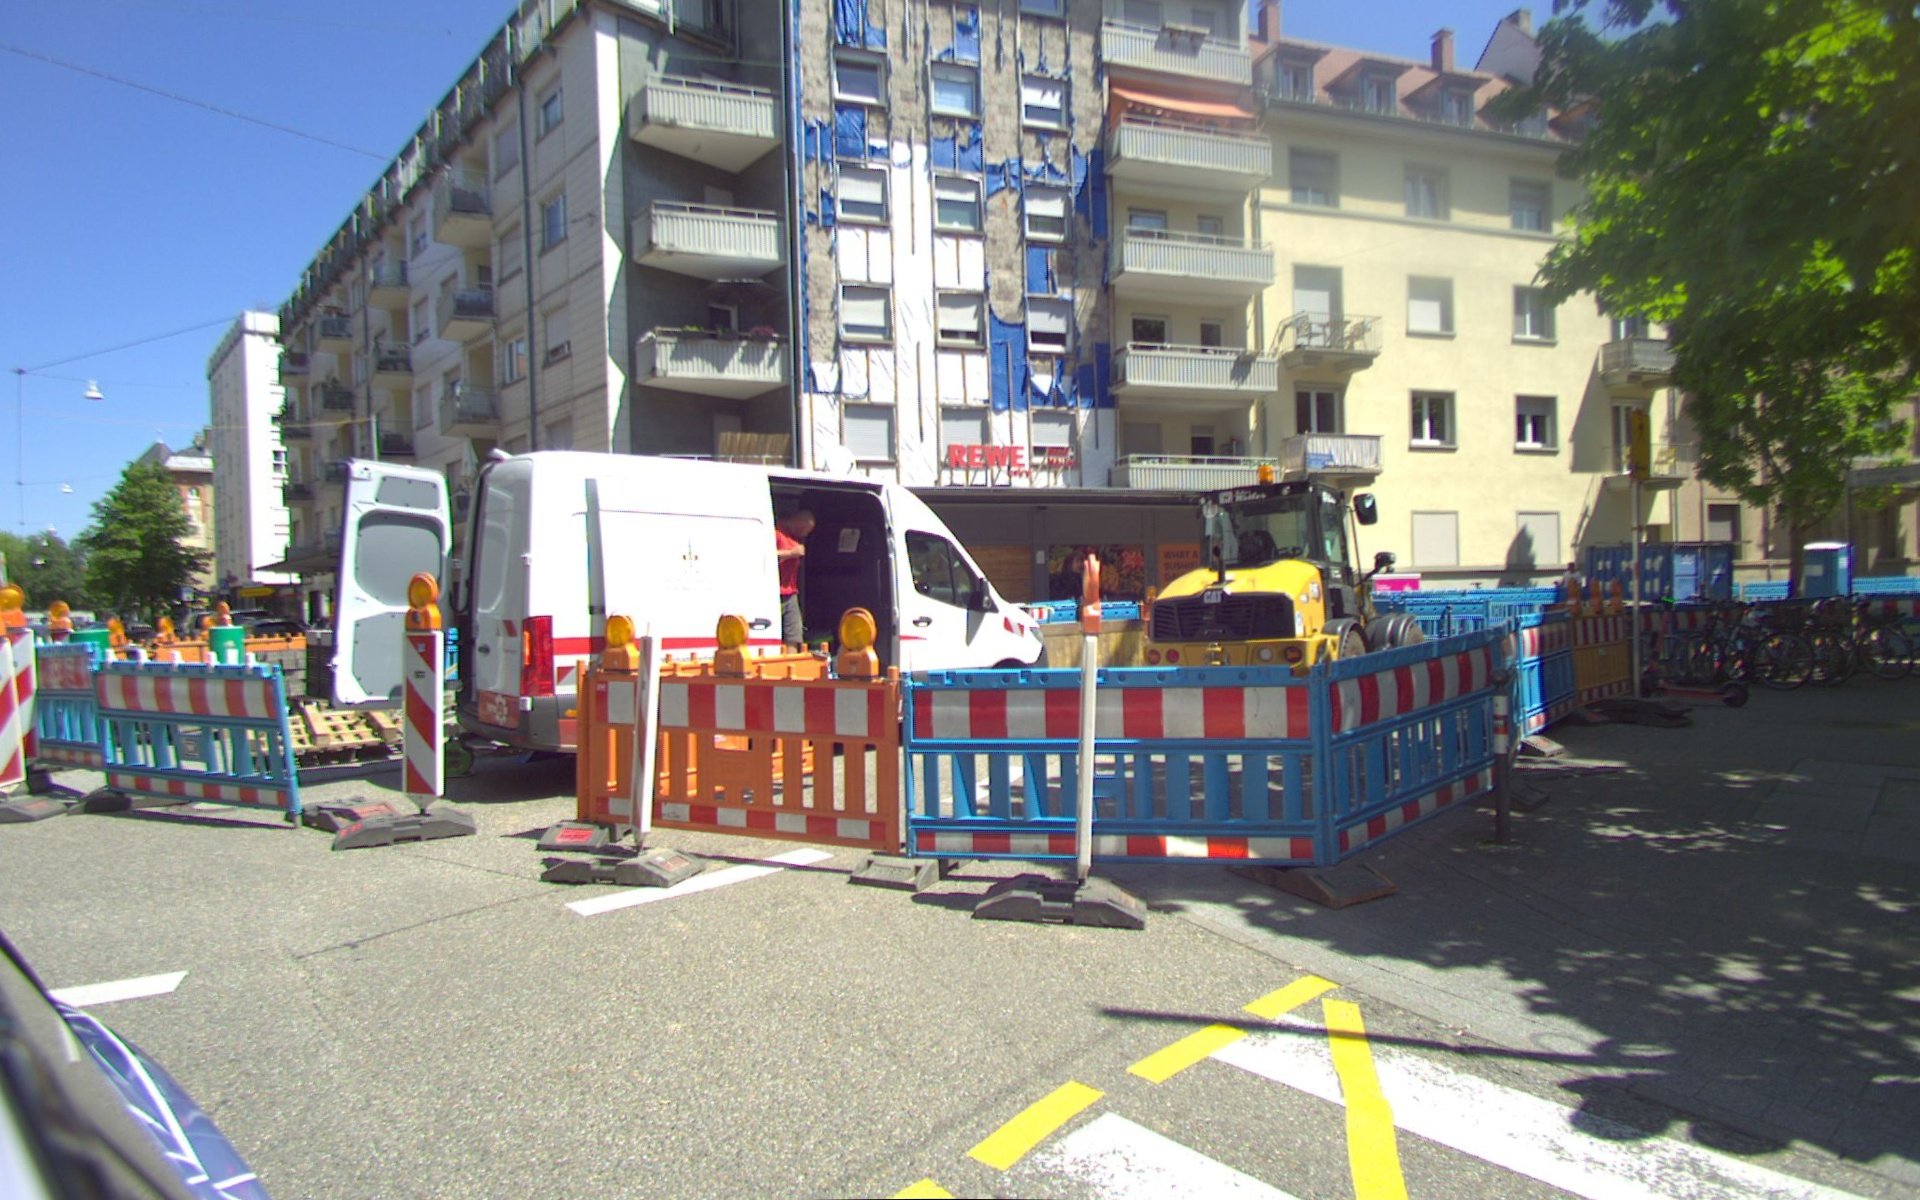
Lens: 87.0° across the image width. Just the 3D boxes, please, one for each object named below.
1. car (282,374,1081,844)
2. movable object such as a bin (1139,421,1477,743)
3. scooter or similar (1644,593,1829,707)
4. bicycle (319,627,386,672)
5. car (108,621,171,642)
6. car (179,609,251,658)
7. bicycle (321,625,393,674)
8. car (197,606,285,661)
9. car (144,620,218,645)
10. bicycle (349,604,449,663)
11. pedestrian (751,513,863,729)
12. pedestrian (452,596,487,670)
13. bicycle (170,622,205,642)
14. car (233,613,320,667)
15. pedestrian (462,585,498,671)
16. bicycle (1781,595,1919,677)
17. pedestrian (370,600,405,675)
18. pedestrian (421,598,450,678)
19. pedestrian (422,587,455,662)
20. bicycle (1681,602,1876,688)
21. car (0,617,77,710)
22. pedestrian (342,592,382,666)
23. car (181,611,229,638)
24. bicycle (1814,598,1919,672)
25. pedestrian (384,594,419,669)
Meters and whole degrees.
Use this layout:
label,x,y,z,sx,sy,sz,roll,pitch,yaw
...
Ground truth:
label,x,y,z,sx,sy,sz,roll,pitch,yaw
car,-1.959,-0.001,9.088,6.543,2.772,2.382,-1,1,-43
movable object such as a bin,3.892,-0.128,10.786,1.953,2.679,4.498,-2,-1,39
scooter or similar,8.252,0.508,10.798,0.517,1.114,1.474,-2,1,-42
bicycle,-16.027,1.296,26.731,0.335,1.043,1.432,-2,2,43
car,-66.543,2.553,82.068,3.830,1.507,1.653,-2,0,-44
car,-30.902,1.365,41.923,1.768,1.842,4.905,-4,1,-43
bicycle,-15.714,1.282,26.401,0.335,1.125,1.503,-2,2,43
car,-26.691,1.220,37.504,4.701,1.825,1.769,-2,1,44
car,-53.520,2.197,69.552,3.830,1.540,1.653,-2,0,-44
bicycle,-12.053,0.709,21.791,1.779,1.127,0.469,-4,1,-22
pedestrian,-1.322,0.163,8.710,0.518,1.767,0.770,-4,2,-43
pedestrian,-11.184,0.753,23.075,0.600,1.645,0.503,-2,0,45
bicycle,-46.515,1.910,60.943,1.585,1.098,0.372,-4,1,-38
car,-22.088,1.248,32.629,1.650,1.536,4.469,-4,1,-42
pedestrian,-10.506,0.599,22.150,0.600,1.833,0.503,-2,0,45
bicycle,11.805,0.461,13.049,0.483,0.996,1.818,-2,-1,-28
pedestrian,-12.845,0.836,22.715,0.512,1.645,0.535,-2,0,45
pedestrian,-11.012,0.789,21.246,0.476,1.630,0.385,-2,0,45
pedestrian,-12.682,0.590,24.609,0.600,1.784,0.503,-2,0,45
bicycle,10.079,0.526,12.545,0.483,0.971,1.818,-2,1,-28
car,-17.308,1.118,18.365,1.755,1.479,4.004,-4,2,-43
pedestrian,-14.520,0.699,24.564,0.633,1.739,0.648,-2,0,45
car,-43.408,1.393,58.149,1.788,1.436,3.896,-2,0,-42
bicycle,12.484,0.448,13.331,0.483,0.942,1.818,-2,1,-28
pedestrian,-12.122,0.683,21.966,0.489,1.577,0.461,-4,1,-17
